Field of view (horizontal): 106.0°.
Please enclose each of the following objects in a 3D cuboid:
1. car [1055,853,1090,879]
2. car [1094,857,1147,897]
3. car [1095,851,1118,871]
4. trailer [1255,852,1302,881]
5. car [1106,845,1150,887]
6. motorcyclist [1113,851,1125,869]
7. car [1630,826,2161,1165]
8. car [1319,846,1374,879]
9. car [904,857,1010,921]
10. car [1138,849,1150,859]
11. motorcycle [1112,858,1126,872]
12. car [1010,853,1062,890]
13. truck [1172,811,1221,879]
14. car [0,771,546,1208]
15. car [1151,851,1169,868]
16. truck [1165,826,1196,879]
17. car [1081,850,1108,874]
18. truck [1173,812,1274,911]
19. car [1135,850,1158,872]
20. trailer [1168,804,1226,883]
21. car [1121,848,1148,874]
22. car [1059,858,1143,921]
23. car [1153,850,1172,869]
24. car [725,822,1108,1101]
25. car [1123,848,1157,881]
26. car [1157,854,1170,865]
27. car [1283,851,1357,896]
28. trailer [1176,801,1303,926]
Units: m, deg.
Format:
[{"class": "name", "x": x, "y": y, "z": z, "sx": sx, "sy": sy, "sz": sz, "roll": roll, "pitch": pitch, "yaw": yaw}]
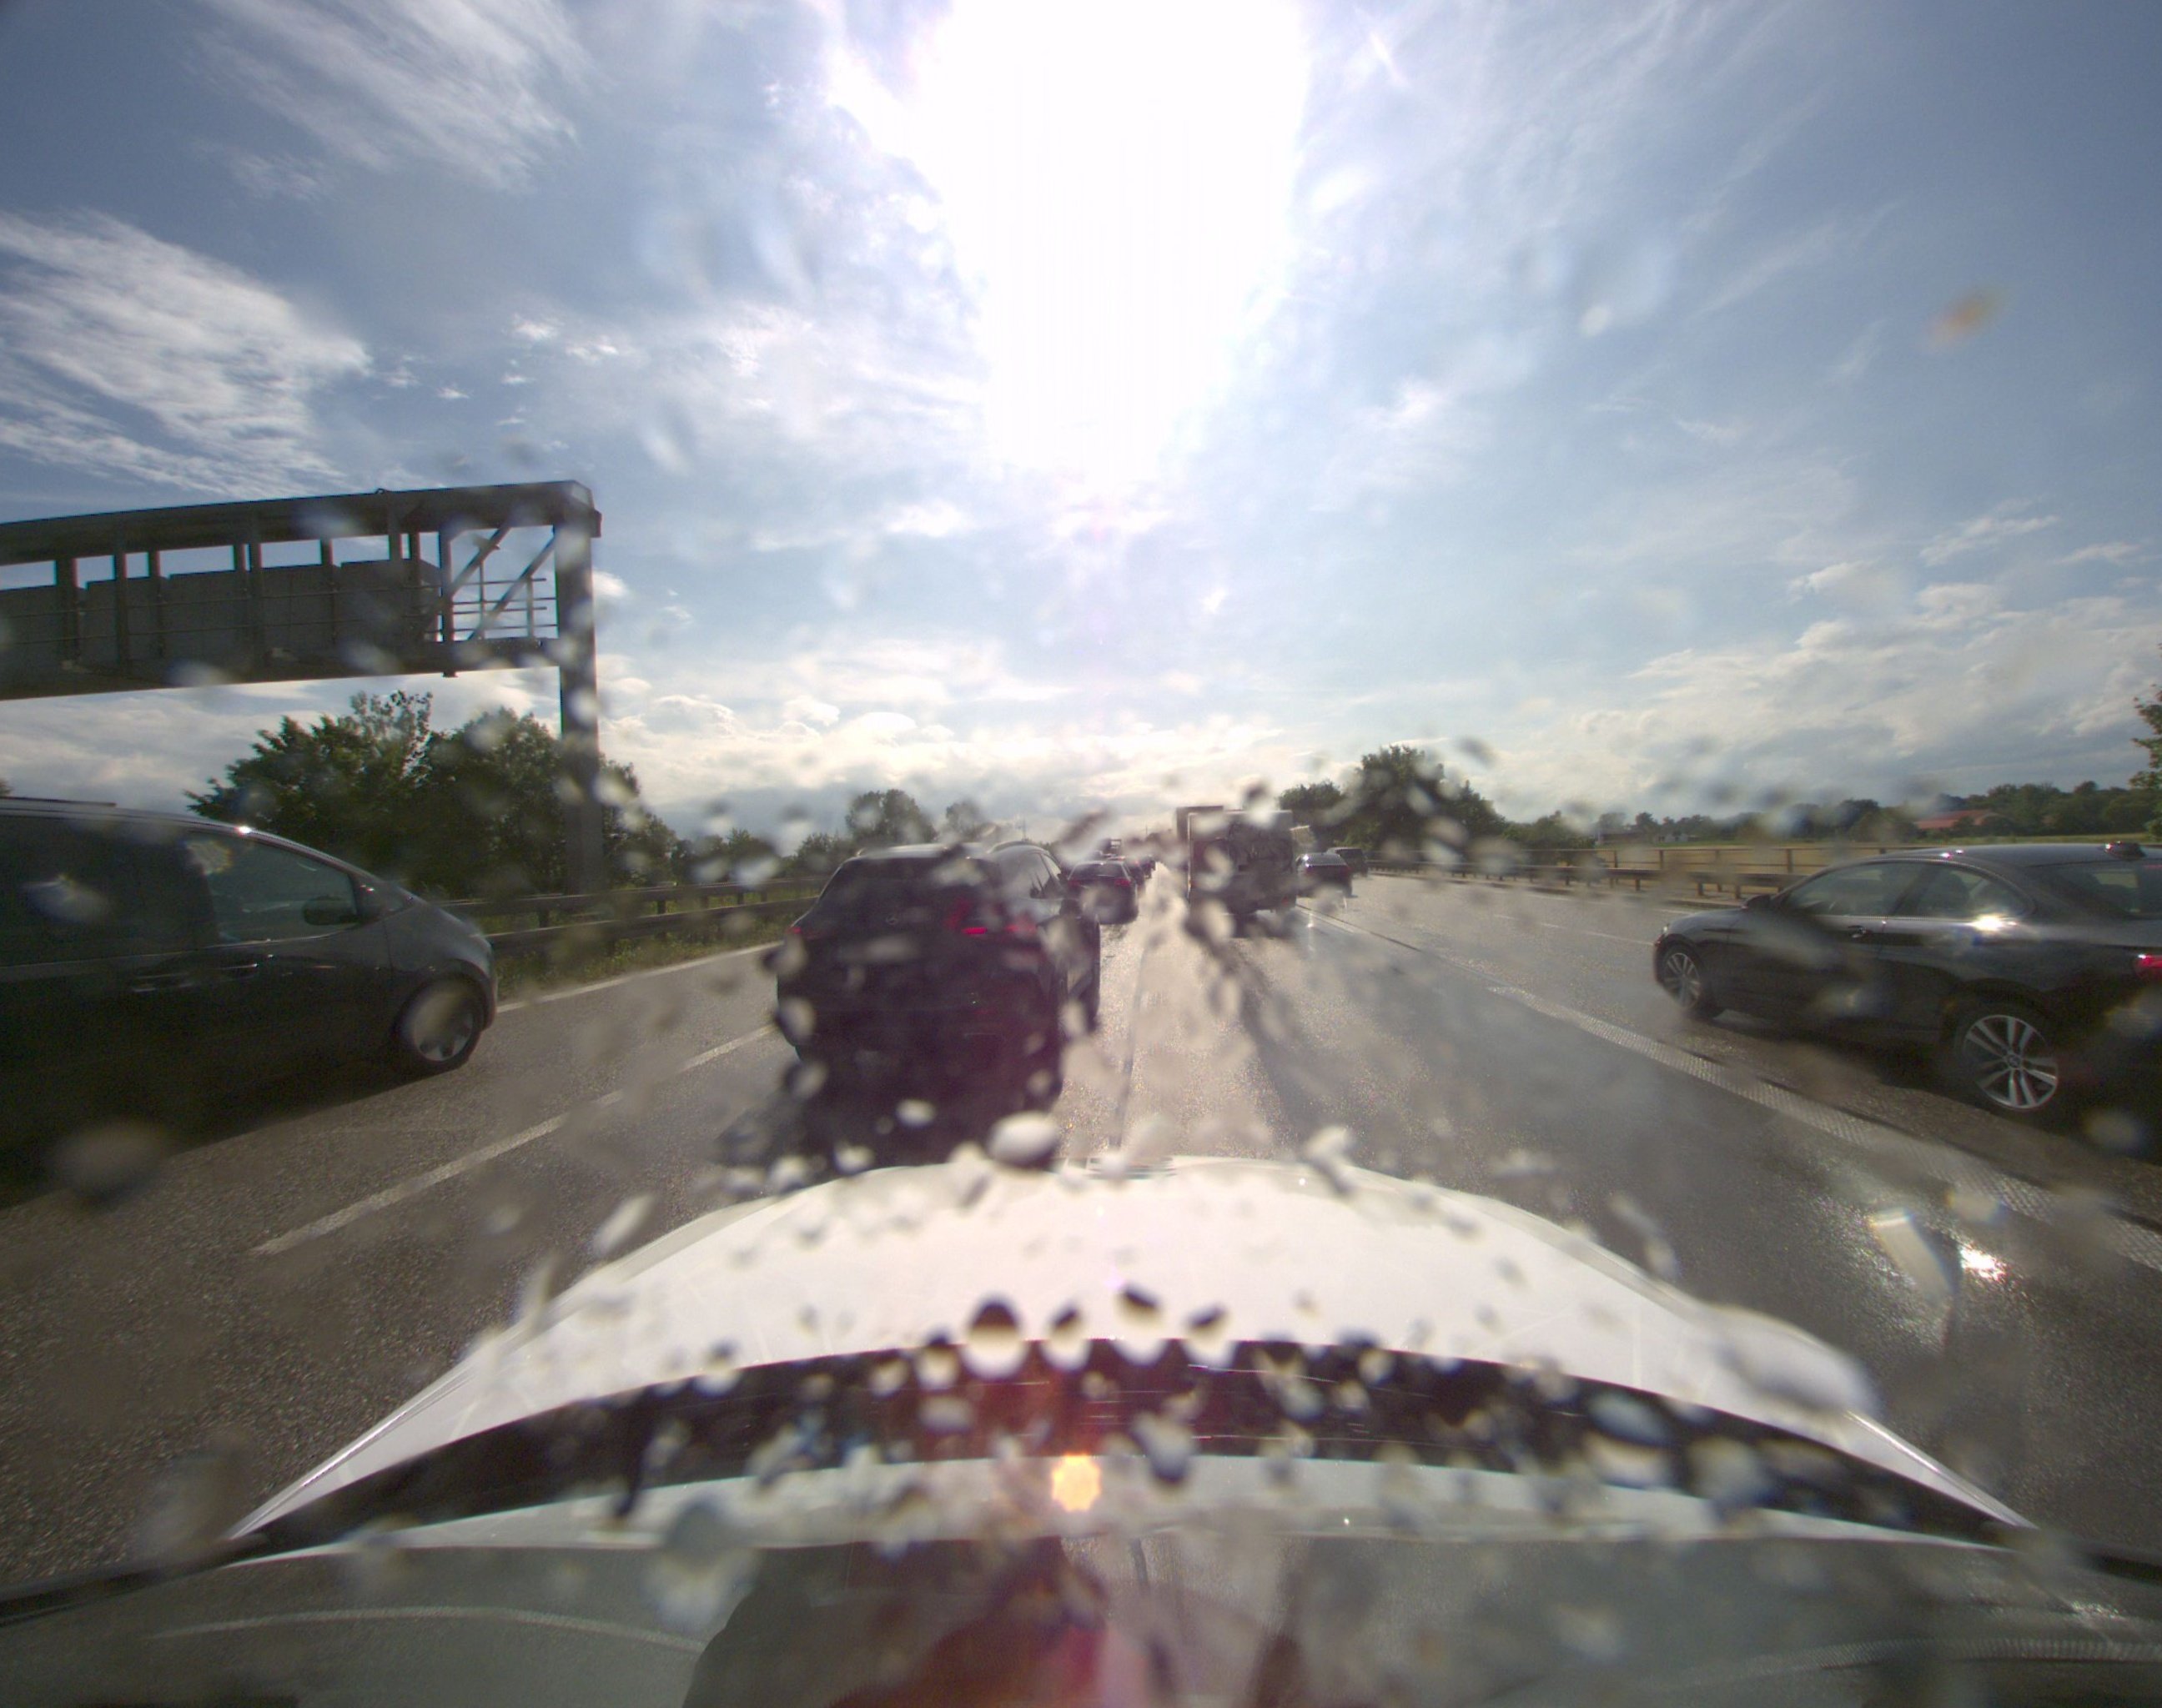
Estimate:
[{"class": "car", "x": -0.571, "y": 0.854, "z": 59.455, "sx": 1.983, "sy": 1.772, "sz": 4.007, "roll": -1, "pitch": 0, "yaw": 6}, {"class": "car", "x": 1.561, "y": 0.831, "z": 31.022, "sx": 1.797, "sy": 1.407, "sz": 4.006, "roll": -1, "pitch": 0, "yaw": 6}, {"class": "car", "x": 2.607, "y": 0.698, "z": 82.447, "sx": 1.983, "sy": 2.013, "sz": 4.007, "roll": 0, "pitch": 0, "yaw": 6}, {"class": "trailer", "x": 10.454, "y": 0.645, "z": 43.353, "sx": 1.845, "sy": 1.442, "sz": 4.154, "roll": -2, "pitch": 0, "yaw": 5}, {"class": "car", "x": 2.432, "y": 0.574, "z": 41.070, "sx": 1.983, "sy": 2.013, "sz": 4.007, "roll": -1, "pitch": 0, "yaw": 6}, {"class": "motorcyclist", "x": 3.648, "y": 0.593, "z": 77.906, "sx": 1.058, "sy": 1.718, "sz": 0.786, "roll": -1, "pitch": -1, "yaw": 6}, {"class": "car", "x": 5.815, "y": 0.597, "z": 5.361, "sx": 1.839, "sy": 1.464, "sz": 4.263, "roll": -2, "pitch": -1, "yaw": 6}, {"class": "car", "x": 13.770, "y": 0.417, "z": 42.451, "sx": 1.779, "sy": 1.613, "sz": 4.392, "roll": -2, "pitch": 0, "yaw": 6}, {"class": "car", "x": -3.216, "y": 0.862, "z": 22.023, "sx": 1.748, "sy": 1.516, "sz": 4.216, "roll": -2, "pitch": 0, "yaw": 6}, {"class": "car", "x": 10.808, "y": 0.020, "z": 139.374, "sx": 1.868, "sy": 1.760, "sz": 4.003, "roll": -1, "pitch": 0, "yaw": 3}, {"class": "motorcycle", "x": 3.648, "y": 1.028, "z": 77.841, "sx": 1.068, "sy": 1.271, "sz": 2.695, "roll": -2, "pitch": 0, "yaw": 6}, {"class": "car", "x": -2.154, "y": 0.827, "z": 39.860, "sx": 1.984, "sy": 1.720, "sz": 4.004, "roll": -1, "pitch": 0, "yaw": 4}, {"class": "truck", "x": 7.563, "y": -0.547, "z": 53.436, "sx": 2.979, "sy": 4.166, "sz": 5.251, "roll": -1, "pitch": 0, "yaw": 8}, {"class": "car", "x": -5.922, "y": 0.653, "z": 4.541, "sx": 1.984, "sy": 2.013, "sz": 5.277, "roll": -2, "pitch": 0, "yaw": 5}, {"class": "car", "x": 9.540, "y": 0.632, "z": 98.437, "sx": 1.983, "sy": 2.013, "sz": 4.007, "roll": 2, "pitch": 0, "yaw": 6}, {"class": "truck", "x": 9.535, "y": -0.153, "z": 78.669, "sx": 2.490, "sy": 4.830, "sz": 7.552, "roll": -1, "pitch": 0, "yaw": 4}, {"class": "car", "x": 1.212, "y": 0.689, "z": 71.268, "sx": 1.983, "sy": 2.013, "sz": 4.007, "roll": 2, "pitch": 0, "yaw": 6}, {"class": "truck", "x": 3.918, "y": 0.212, "z": 23.424, "sx": 2.362, "sy": 2.477, "sz": 5.764, "roll": -1, "pitch": 0, "yaw": 5}, {"class": "car", "x": 6.273, "y": 0.668, "z": 77.530, "sx": 1.983, "sy": 2.013, "sz": 4.007, "roll": -1, "pitch": 0, "yaw": 6}, {"class": "trailer", "x": 6.818, "y": -0.549, "z": 47.956, "sx": 2.990, "sy": 4.166, "sz": 8.554, "roll": -1, "pitch": 0, "yaw": 8}, {"class": "car", "x": 4.338, "y": 0.551, "z": 65.615, "sx": 1.983, "sy": 2.013, "sz": 4.007, "roll": -1, "pitch": 0, "yaw": 6}, {"class": "car", "x": 0.608, "y": 0.825, "z": 20.739, "sx": 1.748, "sy": 1.387, "sz": 3.952, "roll": -2, "pitch": 0, "yaw": 6}, {"class": "car", "x": 8.833, "y": 0.596, "z": 87.615, "sx": 1.983, "sy": 2.013, "sz": 4.007, "roll": 0, "pitch": 0, "yaw": 6}, {"class": "car", "x": -0.951, "y": 0.675, "z": 7.142, "sx": 1.983, "sy": 1.661, "sz": 4.414, "roll": -2, "pitch": 0, "yaw": 6}, {"class": "car", "x": 3.850, "y": 0.653, "z": 52.957, "sx": 1.983, "sy": 2.013, "sz": 4.007, "roll": 2, "pitch": 0, "yaw": 6}, {"class": "car", "x": 13.510, "y": 0.828, "z": 134.066, "sx": 1.868, "sy": 1.760, "sz": 4.003, "roll": -1, "pitch": 0, "yaw": 3}, {"class": "car", "x": 8.184, "y": 0.626, "z": 28.167, "sx": 1.732, "sy": 1.420, "sz": 3.841, "roll": -2, "pitch": 0, "yaw": 5}, {"class": "trailer", "x": 3.554, "y": 0.213, "z": 19.625, "sx": 2.362, "sy": 2.483, "sz": 6.533, "roll": -1, "pitch": 0, "yaw": 5}]
